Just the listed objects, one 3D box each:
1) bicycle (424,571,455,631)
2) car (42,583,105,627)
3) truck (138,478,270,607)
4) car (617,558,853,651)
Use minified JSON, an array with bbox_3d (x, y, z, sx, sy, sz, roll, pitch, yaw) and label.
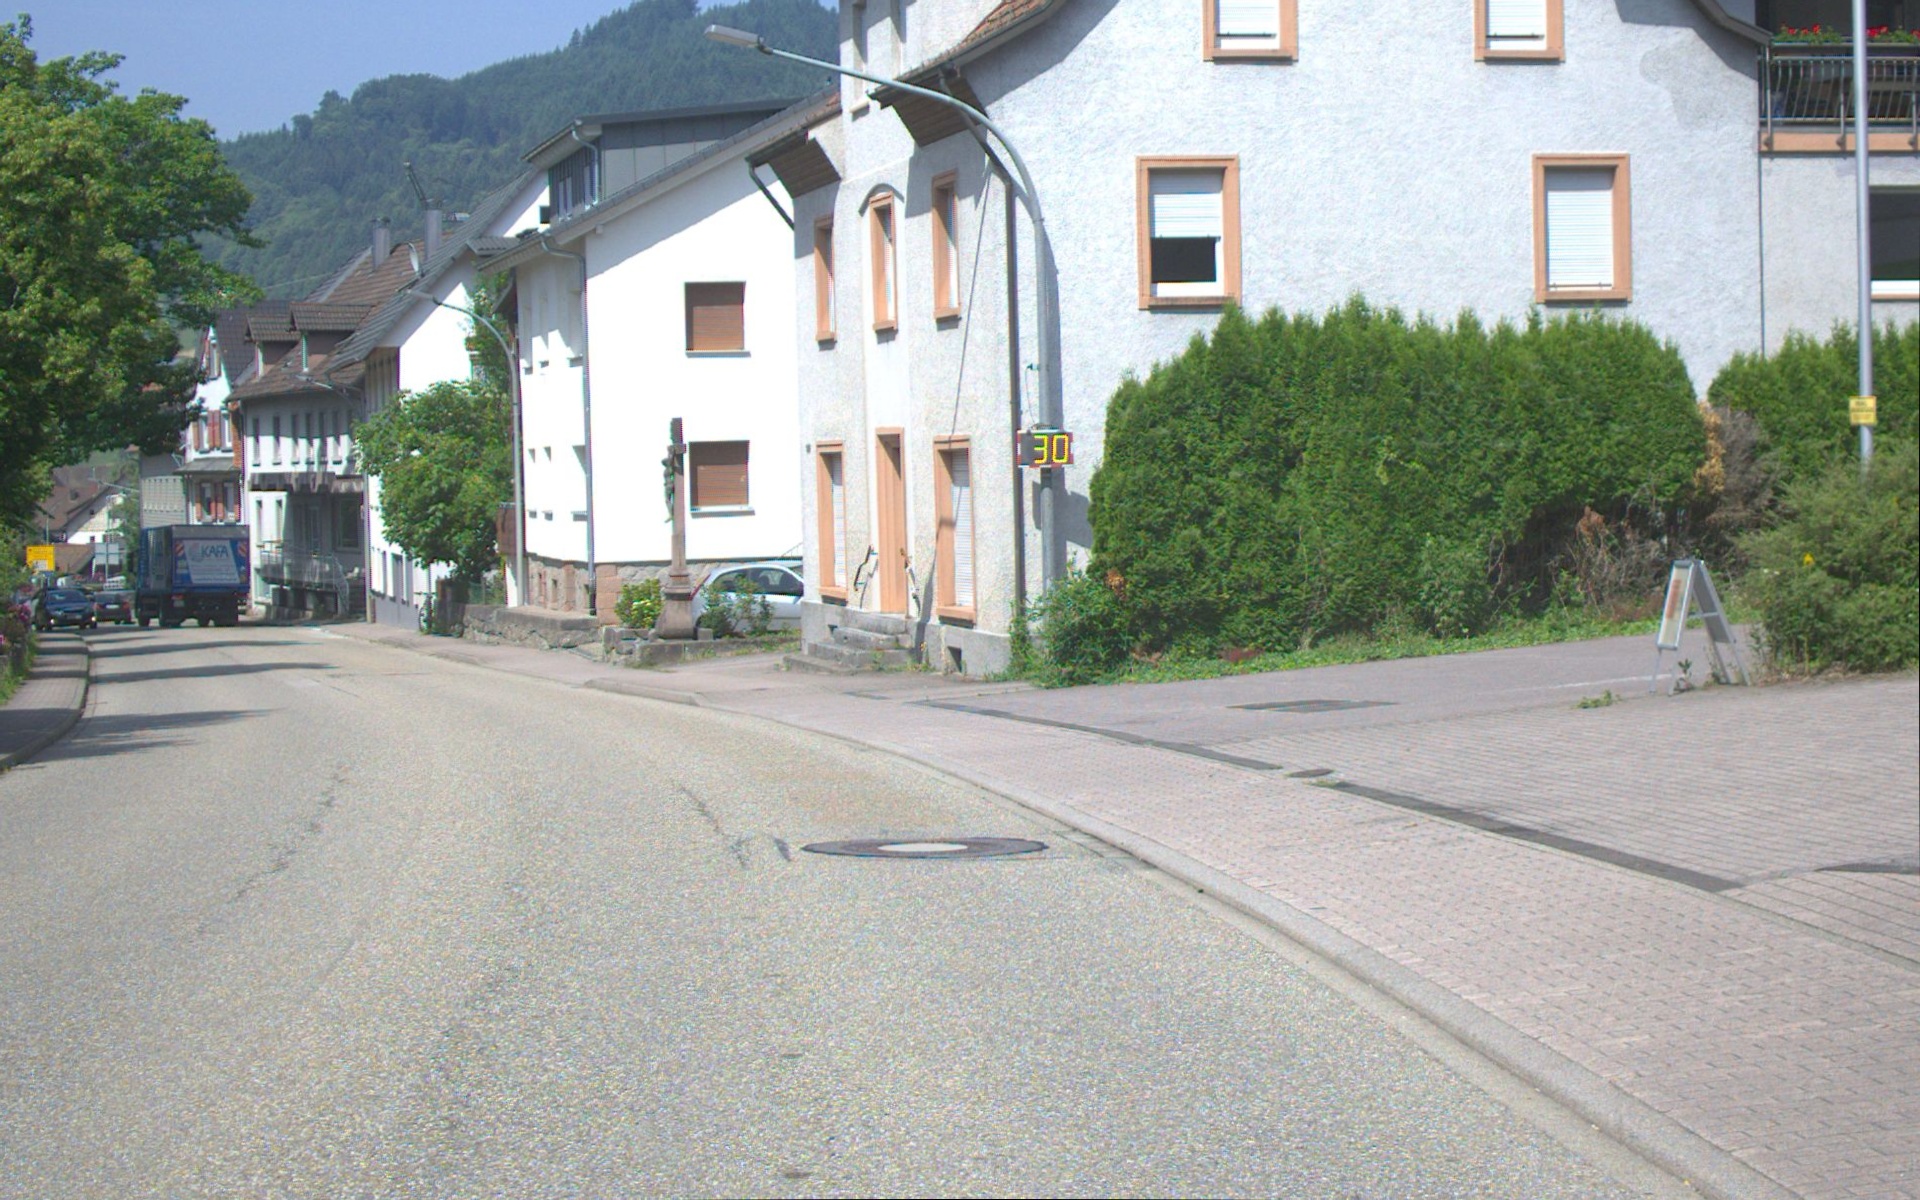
[{"bbox_3d":[-12.665,0.019,83.575,0.425,1.391,2.277,-5,2,-13],"label":"bicycle"},{"bbox_3d":[-31.284,0.196,121.299,1.666,1.413,4.087,-4,1,-20],"label":"car"},{"bbox_3d":[-25.800,-1.892,116.968,3.362,3.769,8.442,-5,0,-17],"label":"truck"},{"bbox_3d":[-3.894,0.088,59.417,3.770,1.422,1.607,-2,1,31],"label":"car"}]
